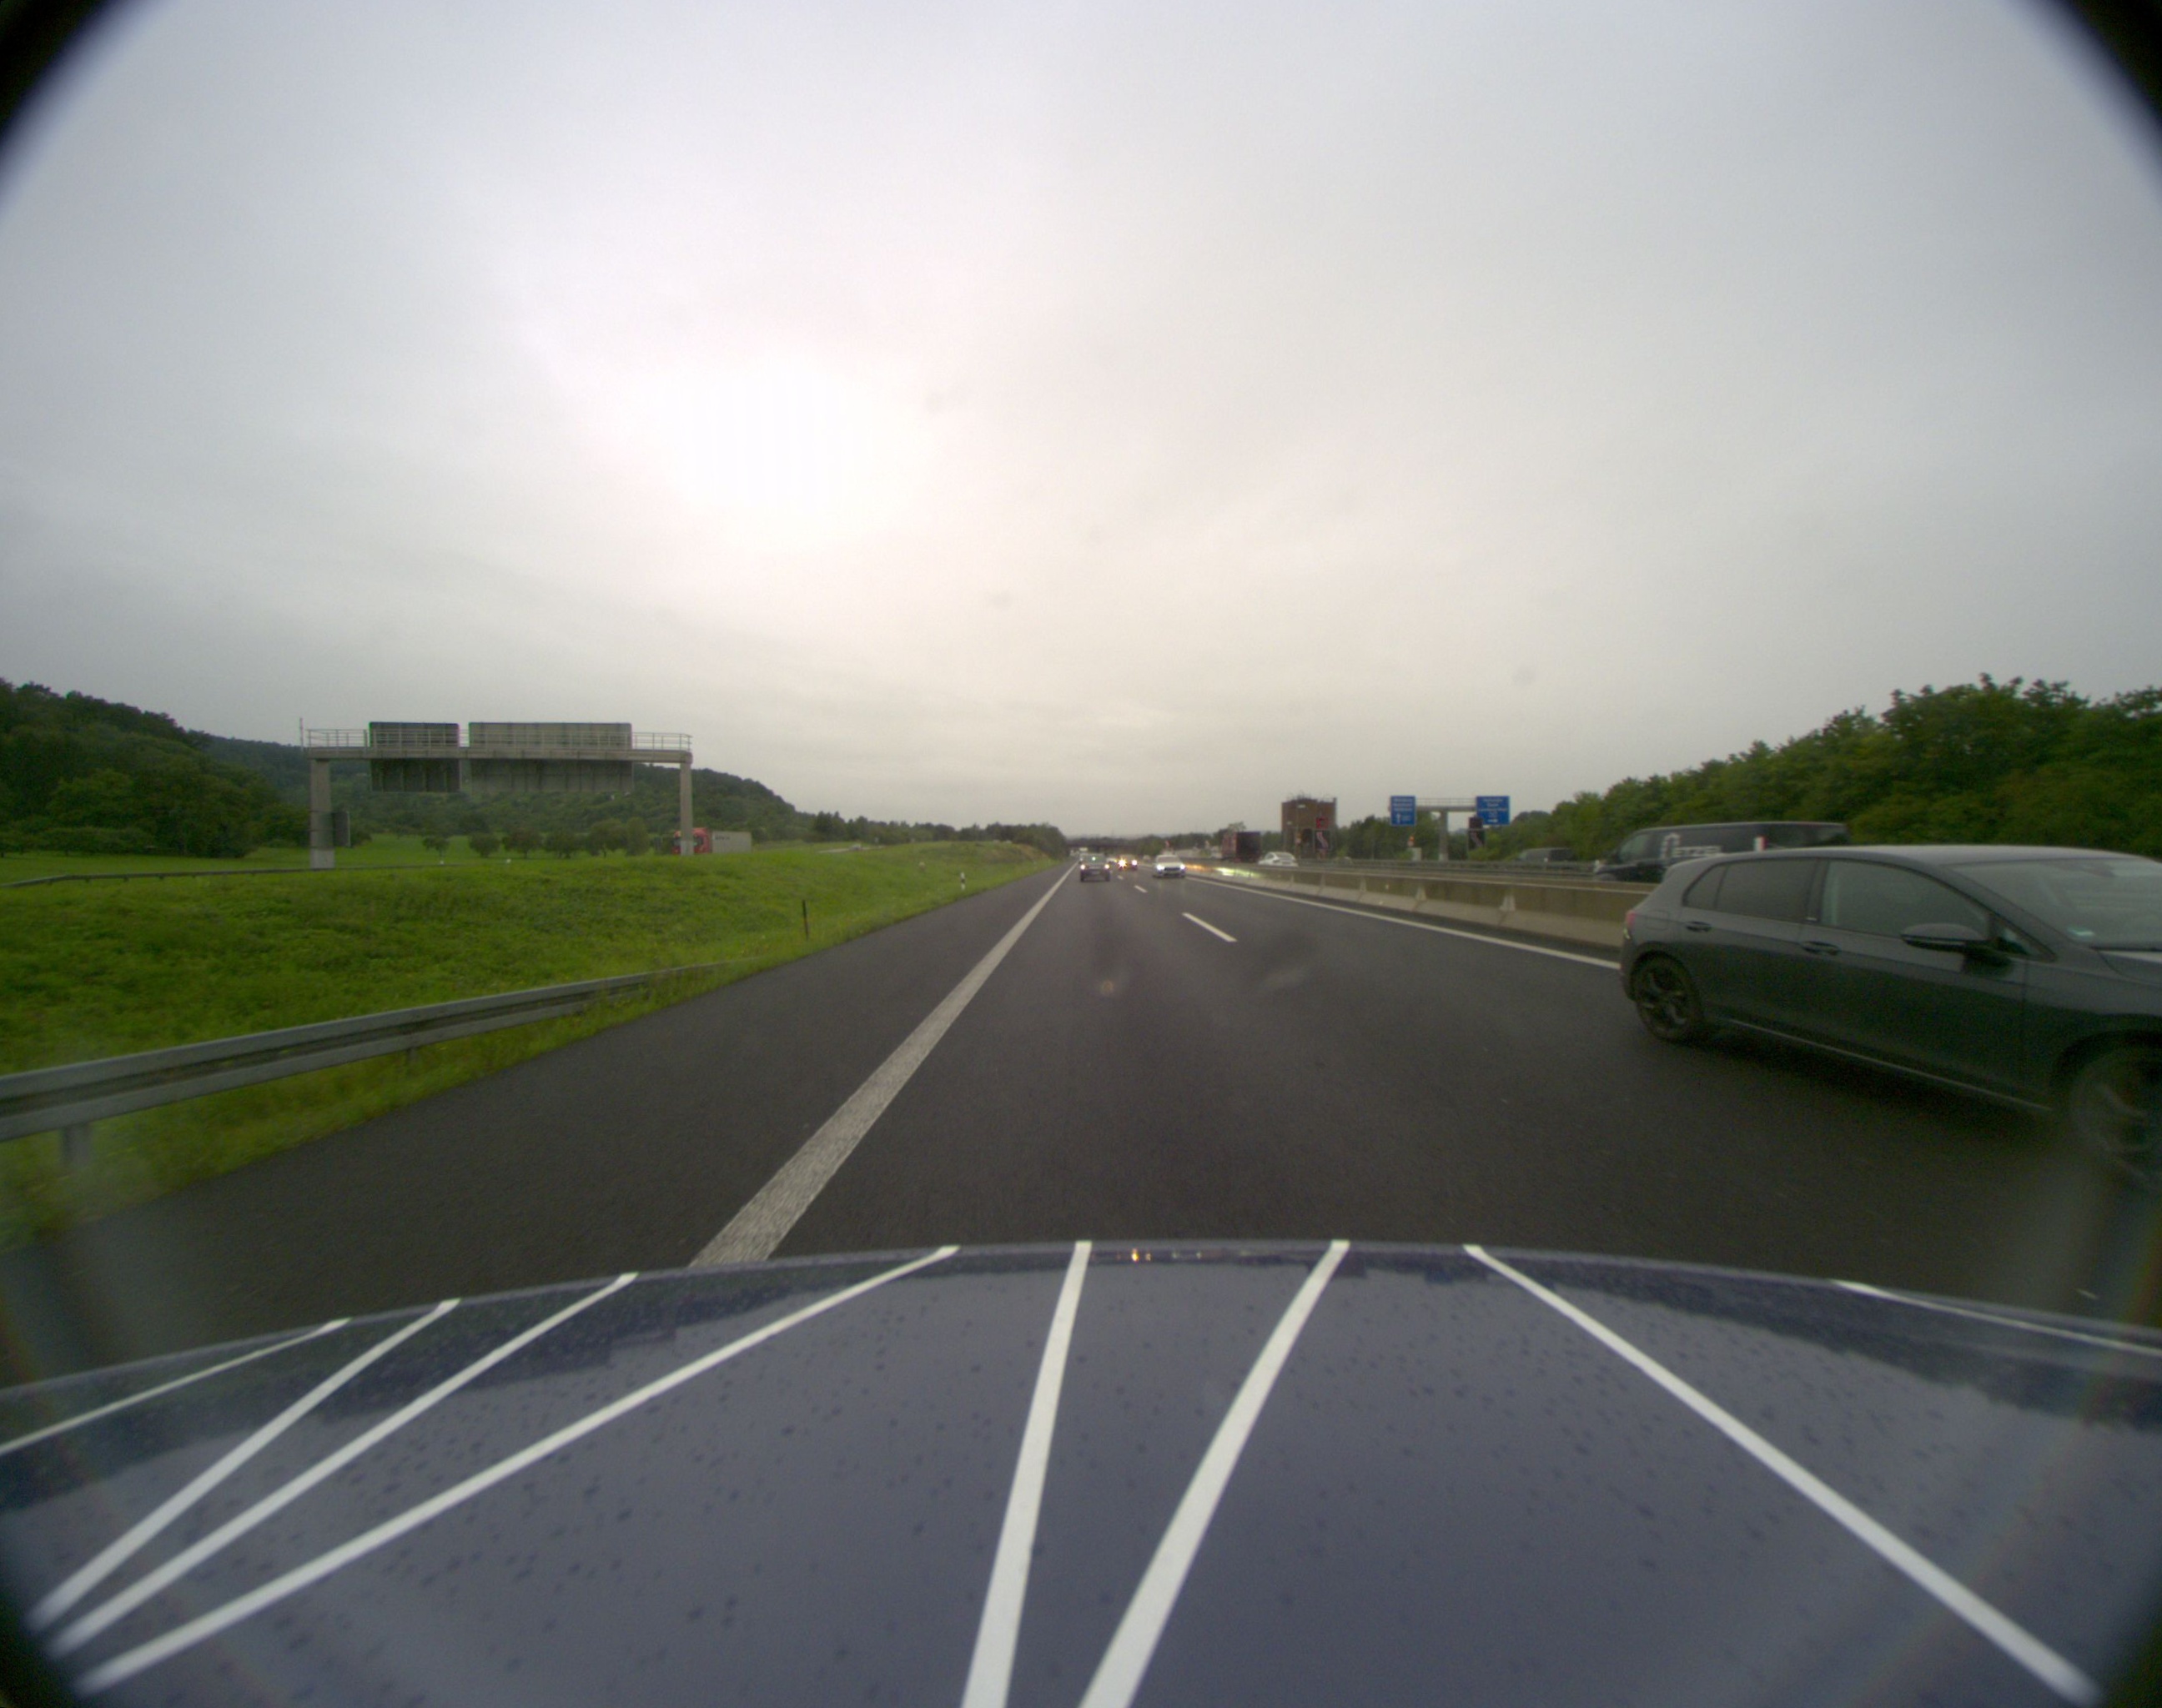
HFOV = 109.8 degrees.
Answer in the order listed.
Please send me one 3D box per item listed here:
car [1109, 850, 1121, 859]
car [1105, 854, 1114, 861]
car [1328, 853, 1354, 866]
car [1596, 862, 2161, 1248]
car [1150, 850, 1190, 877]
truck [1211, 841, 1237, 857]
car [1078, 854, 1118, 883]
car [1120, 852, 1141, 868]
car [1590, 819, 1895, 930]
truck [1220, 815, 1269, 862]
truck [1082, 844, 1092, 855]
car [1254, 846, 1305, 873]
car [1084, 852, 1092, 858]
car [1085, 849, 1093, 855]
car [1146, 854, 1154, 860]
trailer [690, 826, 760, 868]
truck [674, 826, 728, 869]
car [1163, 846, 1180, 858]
[{"bbox_3d":[5.978,0.046,134.682,1.941,1.341,4.000,-4,0,2],"label":"car"},{"bbox_3d":[6.682,0.740,178.211,1.998,1.565,4.000,-2,0,1],"label":"car"},{"bbox_3d":[29.487,0.623,86.309,1.526,1.390,4.000,-2,0,1],"label":"car"},{"bbox_3d":[5.122,0.808,3.969,1.835,1.417,4.367,-2,0,-1],"label":"car"},{"bbox_3d":[5.684,0.547,48.884,1.998,1.582,4.816,-2,0,0],"label":"car"},{"bbox_3d":[34.187,-1.191,182.149,3.185,3.786,17.134,0,0,1],"label":"truck"},{"bbox_3d":[1.064,0.826,45.864,2.242,1.565,4.817,-2,0,2],"label":"car"},{"bbox_3d":[4.710,0.597,72.978,1.835,1.417,4.368,-3,0,2],"label":"car"},{"bbox_3d":[12.942,0.346,15.395,1.999,1.825,4.679,-2,0,-1],"label":"car"},{"bbox_3d":[17.889,-1.617,83.989,3.408,4.705,10.486,-2,0,3],"label":"truck"},{"bbox_3d":[1.915,-1.375,240.716,2.728,3.098,7.960,-3,0,1],"label":"truck"},{"bbox_3d":[13.806,0.382,53.156,2.161,1.755,4.959,-1,0,-1],"label":"car"},{"bbox_3d":[1.673,0.218,178.008,1.942,1.341,4.000,-3,0,1],"label":"car"},{"bbox_3d":[1.987,-0.478,184.733,1.942,1.341,4.000,-3,0,1],"label":"car"},{"bbox_3d":[19.215,0.860,211.840,1.998,1.652,4.314,-1,0,3],"label":"car"},{"bbox_3d":[-37.685,-0.712,81.071,2.498,3.961,12.398,-3,1,-5],"label":"trailer"},{"bbox_3d":[-37.146,-0.633,74.531,2.515,3.964,5.925,-3,1,-5],"label":"truck"},{"bbox_3d":[14.267,-0.304,119.717,1.999,1.852,5.220,0,0,0],"label":"car"}]
